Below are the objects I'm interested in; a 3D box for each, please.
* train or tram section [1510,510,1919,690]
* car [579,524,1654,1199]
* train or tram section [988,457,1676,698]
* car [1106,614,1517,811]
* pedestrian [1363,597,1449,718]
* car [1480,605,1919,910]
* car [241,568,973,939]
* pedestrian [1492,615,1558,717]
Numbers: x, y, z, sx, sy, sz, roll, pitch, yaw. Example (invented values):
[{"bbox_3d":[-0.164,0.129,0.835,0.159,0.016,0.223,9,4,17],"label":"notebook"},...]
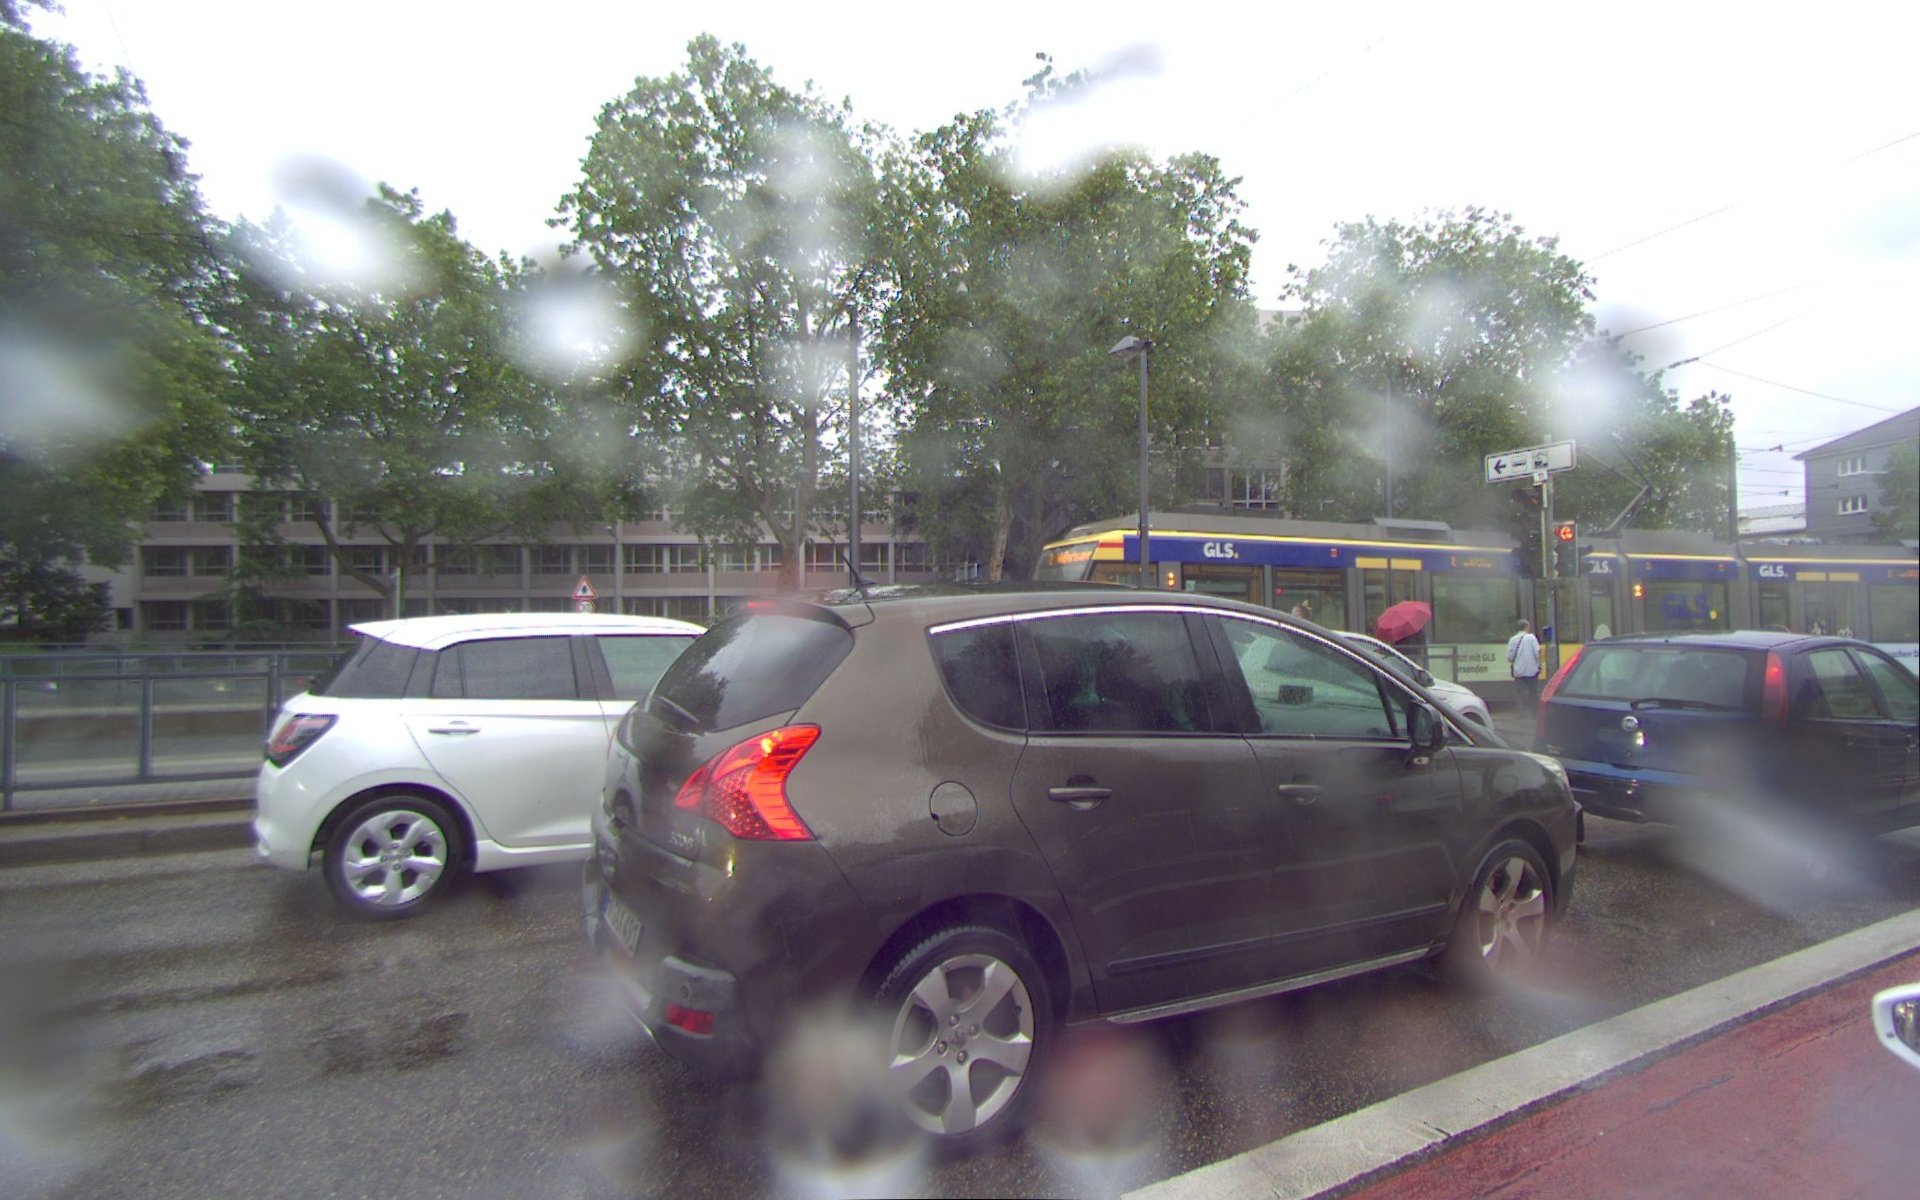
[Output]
[{"bbox_3d":[20.566,0.159,22.891,15.228,3.458,3.545,2,0,-11],"label":"train or tram section"},{"bbox_3d":[0.778,0.721,4.109,4.124,1.690,1.825,1,-1,-30],"label":"car"},{"bbox_3d":[7.398,-0.184,19.061,13.464,3.559,3.505,2,0,-23],"label":"train or tram section"},{"bbox_3d":[3.361,0.925,9.454,3.737,1.514,1.621,1,-1,-30],"label":"car"},{"bbox_3d":[6.748,0.863,15.211,0.888,1.769,0.762,0,-3,-30],"label":"pedestrian"},{"bbox_3d":[5.579,0.877,7.007,3.776,1.599,1.719,1,-1,-30],"label":"car"},{"bbox_3d":[-1.956,0.738,6.156,3.791,1.650,1.637,1,-2,-30],"label":"car"},{"bbox_3d":[9.339,1.071,16.605,0.731,1.628,0.623,1,0,-23],"label":"pedestrian"}]
